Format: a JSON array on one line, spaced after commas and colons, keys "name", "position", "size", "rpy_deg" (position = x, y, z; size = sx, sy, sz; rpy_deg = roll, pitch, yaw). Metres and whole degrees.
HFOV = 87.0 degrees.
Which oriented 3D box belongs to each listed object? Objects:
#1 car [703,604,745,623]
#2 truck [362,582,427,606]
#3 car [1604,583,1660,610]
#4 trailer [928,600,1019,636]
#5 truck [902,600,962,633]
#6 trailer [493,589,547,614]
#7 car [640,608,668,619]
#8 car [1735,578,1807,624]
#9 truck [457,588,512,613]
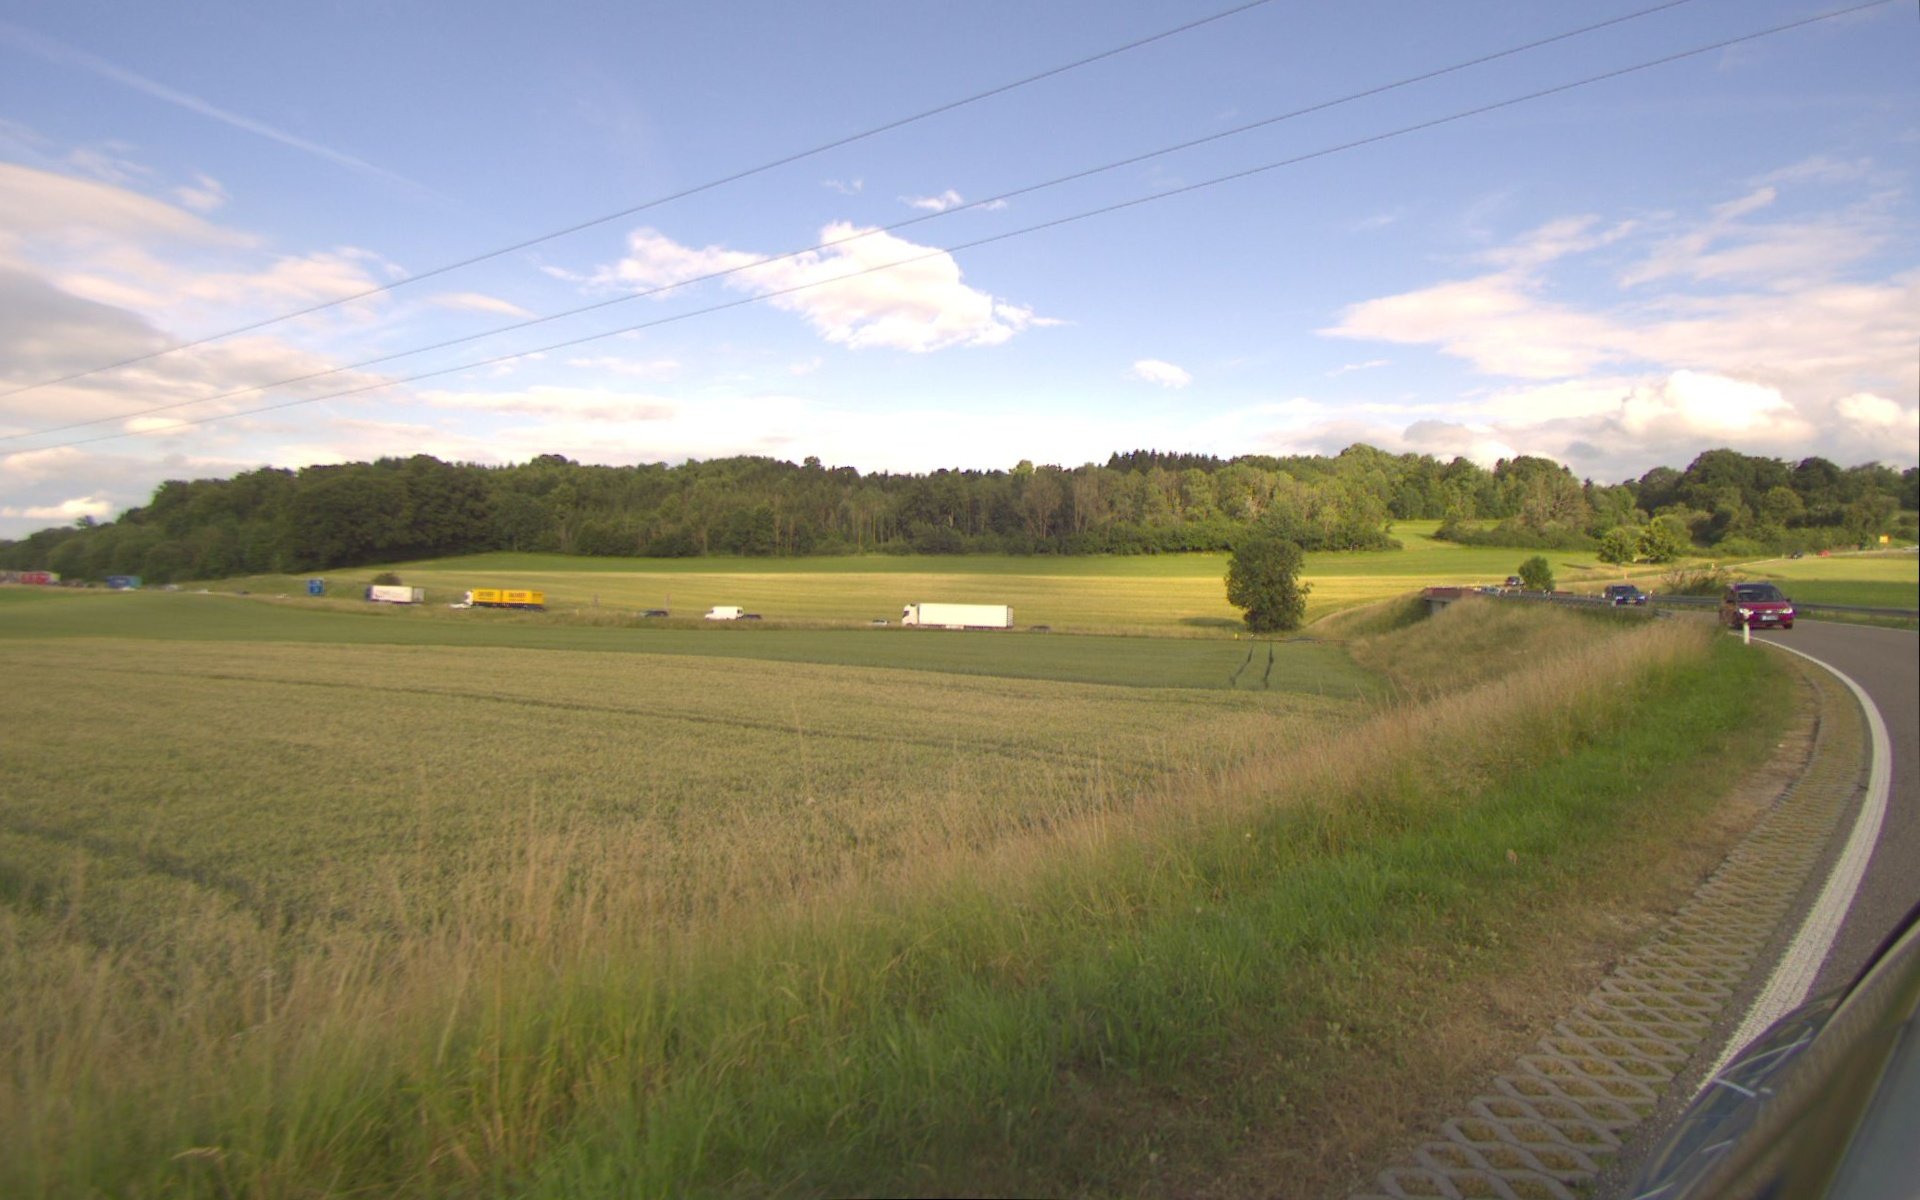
[{"name": "car", "position": [-37.234, 2.098, 159.737], "size": [6.053, 2.618, 2.354], "rpy_deg": [2, -3, 23]}, {"name": "truck", "position": [-112.098, -1.197, 200.393], "size": [14.291, 4.043, 4.044], "rpy_deg": [2, 6, 28]}, {"name": "car", "position": [43.085, -0.245, 65.002], "size": [1.797, 1.631, 3.980], "rpy_deg": [2, 1, 16]}, {"name": "trailer", "position": [1.865, 2.522, 141.919], "size": [12.587, 4.526, 3.007], "rpy_deg": [2, -1, 24]}, {"name": "truck", "position": [-4.035, 2.348, 144.553], "size": [7.967, 4.526, 3.005], "rpy_deg": [2, -1, 24]}, {"name": "trailer", "position": [-78.865, 0.267, 181.447], "size": [9.036, 4.109, 3.806], "rpy_deg": [1, 3, 26]}, {"name": "car", "position": [-47.768, 2.099, 157.985], "size": [3.953, 1.539, 1.671], "rpy_deg": [0, 1, 22]}, {"name": "car", "position": [31.860, 0.057, 39.875], "size": [1.809, 1.676, 3.951], "rpy_deg": [-3, -2, 34]}, {"name": "truck", "position": [-87.218, 0.111, 185.523], "size": [9.701, 4.109, 3.806], "rpy_deg": [1, 3, 26]}]
